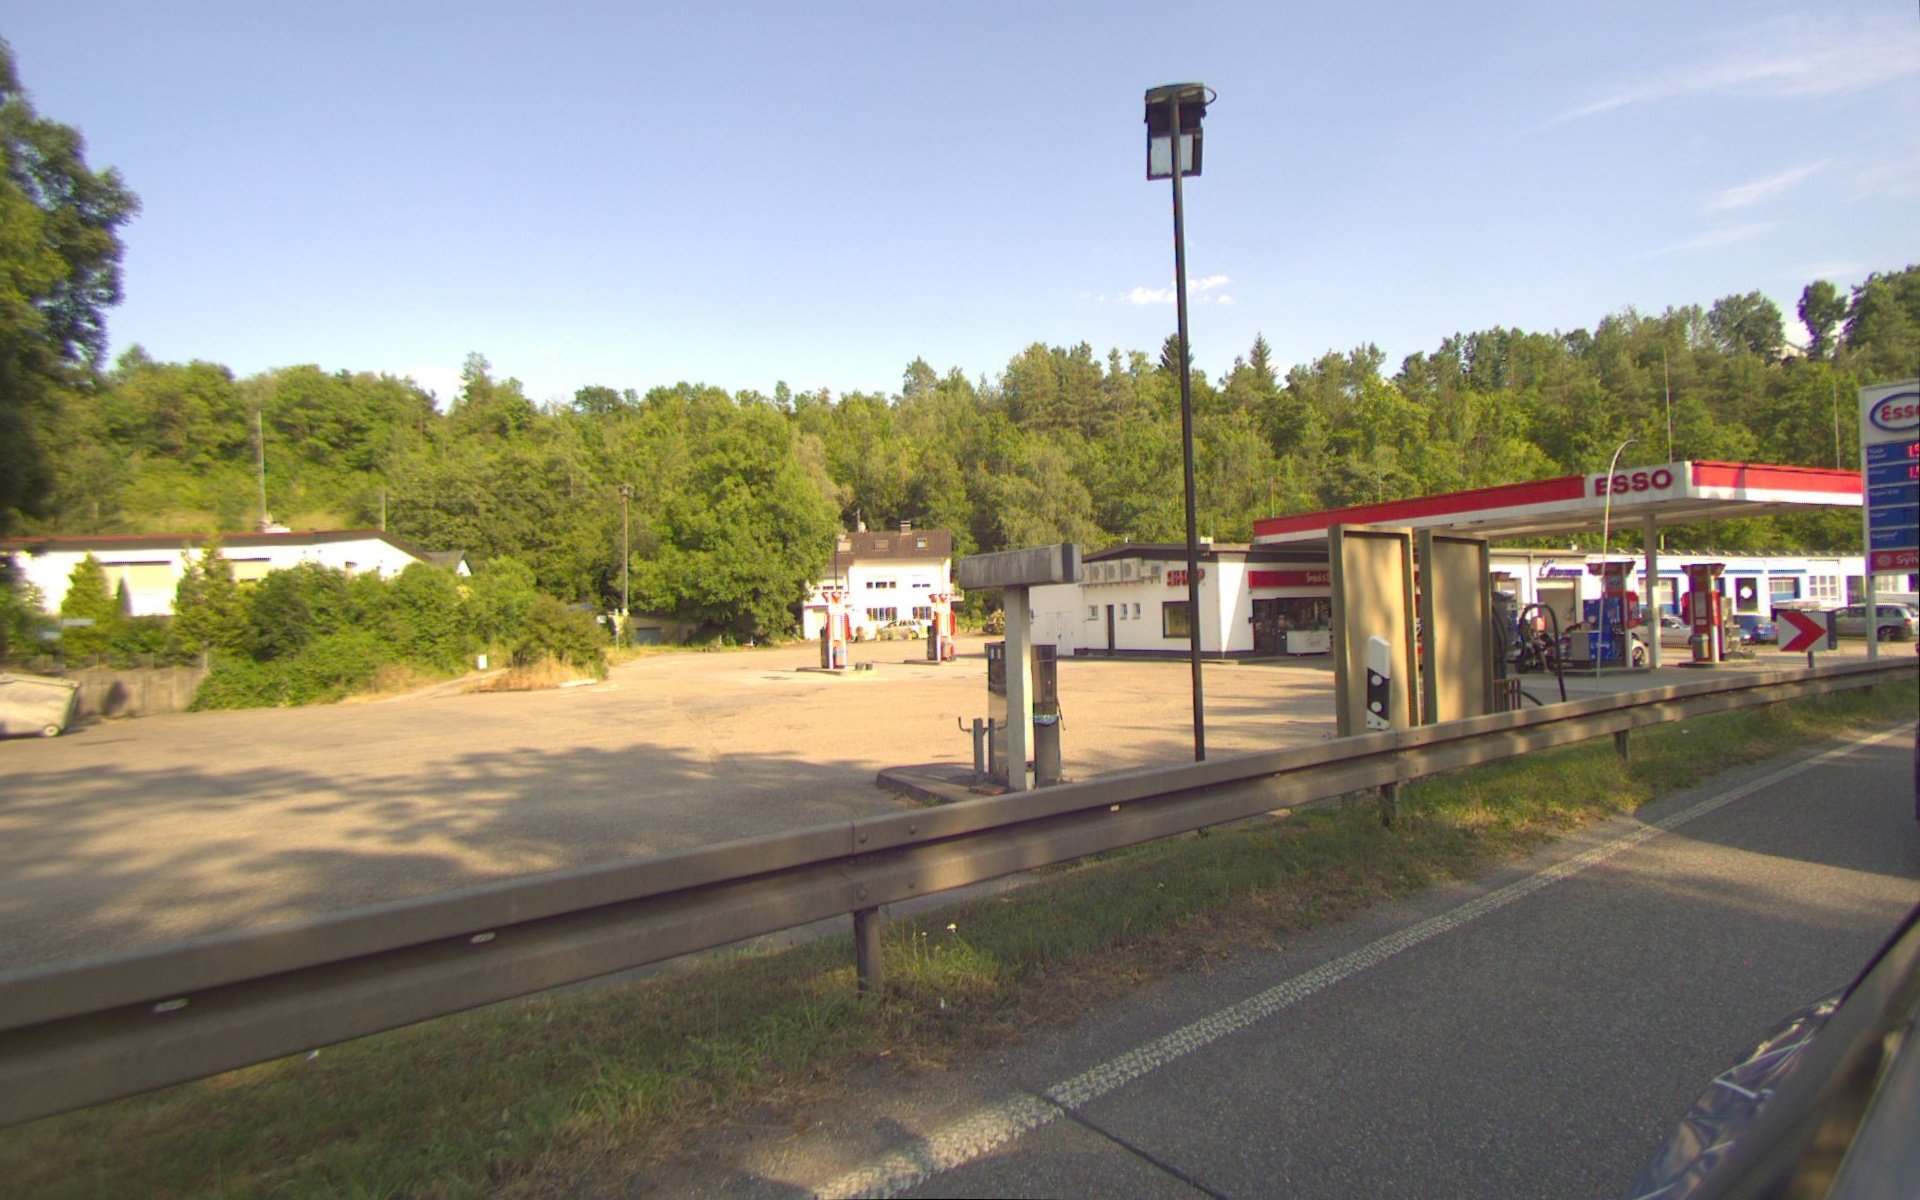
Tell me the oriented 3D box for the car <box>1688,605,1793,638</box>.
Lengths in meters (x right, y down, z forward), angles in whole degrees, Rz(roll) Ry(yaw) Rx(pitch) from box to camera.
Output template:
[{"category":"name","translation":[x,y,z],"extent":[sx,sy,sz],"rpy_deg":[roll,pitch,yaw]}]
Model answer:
[{"category":"car","translation":[36.862,1.015,47.874],"extent":[1.698,1.464,3.560],"rpy_deg":[-1,-1,-26]}]

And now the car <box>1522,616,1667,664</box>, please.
[{"category":"car","translation":[19.931,1.210,31.761],"extent":[4.299,1.336,1.851],"rpy_deg":[-1,-1,-26]}]

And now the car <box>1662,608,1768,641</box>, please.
[{"category":"car","translation":[34.917,1.117,46.885],"extent":[1.656,1.424,3.566],"rpy_deg":[-1,0,-26]}]

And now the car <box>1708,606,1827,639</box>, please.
[{"category":"car","translation":[38.777,1.044,48.704],"extent":[1.856,1.365,4.087],"rpy_deg":[-1,2,-26]}]

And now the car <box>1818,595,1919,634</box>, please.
[{"category":"car","translation":[46.247,0.696,50.955],"extent":[1.854,1.750,4.267],"rpy_deg":[-1,2,-29]}]

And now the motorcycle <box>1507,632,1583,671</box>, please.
[{"category":"motorcycle","translation":[17.149,1.492,29.655],"extent":[2.293,1.025,0.765],"rpy_deg":[-1,-1,-27]}]

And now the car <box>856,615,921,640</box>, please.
[{"category":"car","translation":[-5.692,2.204,81.474],"extent":[5.068,1.860,2.701],"rpy_deg":[-1,-1,0]}]

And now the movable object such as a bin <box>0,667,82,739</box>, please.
[{"category":"movable object such as a bin","translation":[-20.403,2.210,21.582],"extent":[2.512,1.439,1.267],"rpy_deg":[0,-4,-41]}]

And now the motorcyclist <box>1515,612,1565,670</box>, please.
[{"category":"motorcyclist","translation":[16.931,1.184,29.561],"extent":[0.909,1.625,0.862],"rpy_deg":[0,-1,-27]}]

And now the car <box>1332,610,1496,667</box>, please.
[{"category":"car","translation":[14.598,1.182,32.477],"extent":[5.075,1.649,2.102],"rpy_deg":[-1,-1,-28]}]

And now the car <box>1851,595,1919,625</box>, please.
[{"category":"car","translation":[52.777,0.532,56.463],"extent":[1.856,1.631,4.261],"rpy_deg":[-1,1,-26]}]

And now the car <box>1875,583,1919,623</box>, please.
[{"category":"car","translation":[56.952,0.151,58.554],"extent":[2.248,2.302,5.500],"rpy_deg":[-1,1,-26]}]

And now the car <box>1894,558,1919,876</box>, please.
[{"category":"car","translation":[7.237,0.599,5.928],"extent":[4.359,1.661,1.860],"rpy_deg":[0,0,-37]}]

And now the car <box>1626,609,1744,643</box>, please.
[{"category":"car","translation":[32.679,1.139,45.738],"extent":[1.741,1.371,3.973],"rpy_deg":[-1,1,-30]}]
